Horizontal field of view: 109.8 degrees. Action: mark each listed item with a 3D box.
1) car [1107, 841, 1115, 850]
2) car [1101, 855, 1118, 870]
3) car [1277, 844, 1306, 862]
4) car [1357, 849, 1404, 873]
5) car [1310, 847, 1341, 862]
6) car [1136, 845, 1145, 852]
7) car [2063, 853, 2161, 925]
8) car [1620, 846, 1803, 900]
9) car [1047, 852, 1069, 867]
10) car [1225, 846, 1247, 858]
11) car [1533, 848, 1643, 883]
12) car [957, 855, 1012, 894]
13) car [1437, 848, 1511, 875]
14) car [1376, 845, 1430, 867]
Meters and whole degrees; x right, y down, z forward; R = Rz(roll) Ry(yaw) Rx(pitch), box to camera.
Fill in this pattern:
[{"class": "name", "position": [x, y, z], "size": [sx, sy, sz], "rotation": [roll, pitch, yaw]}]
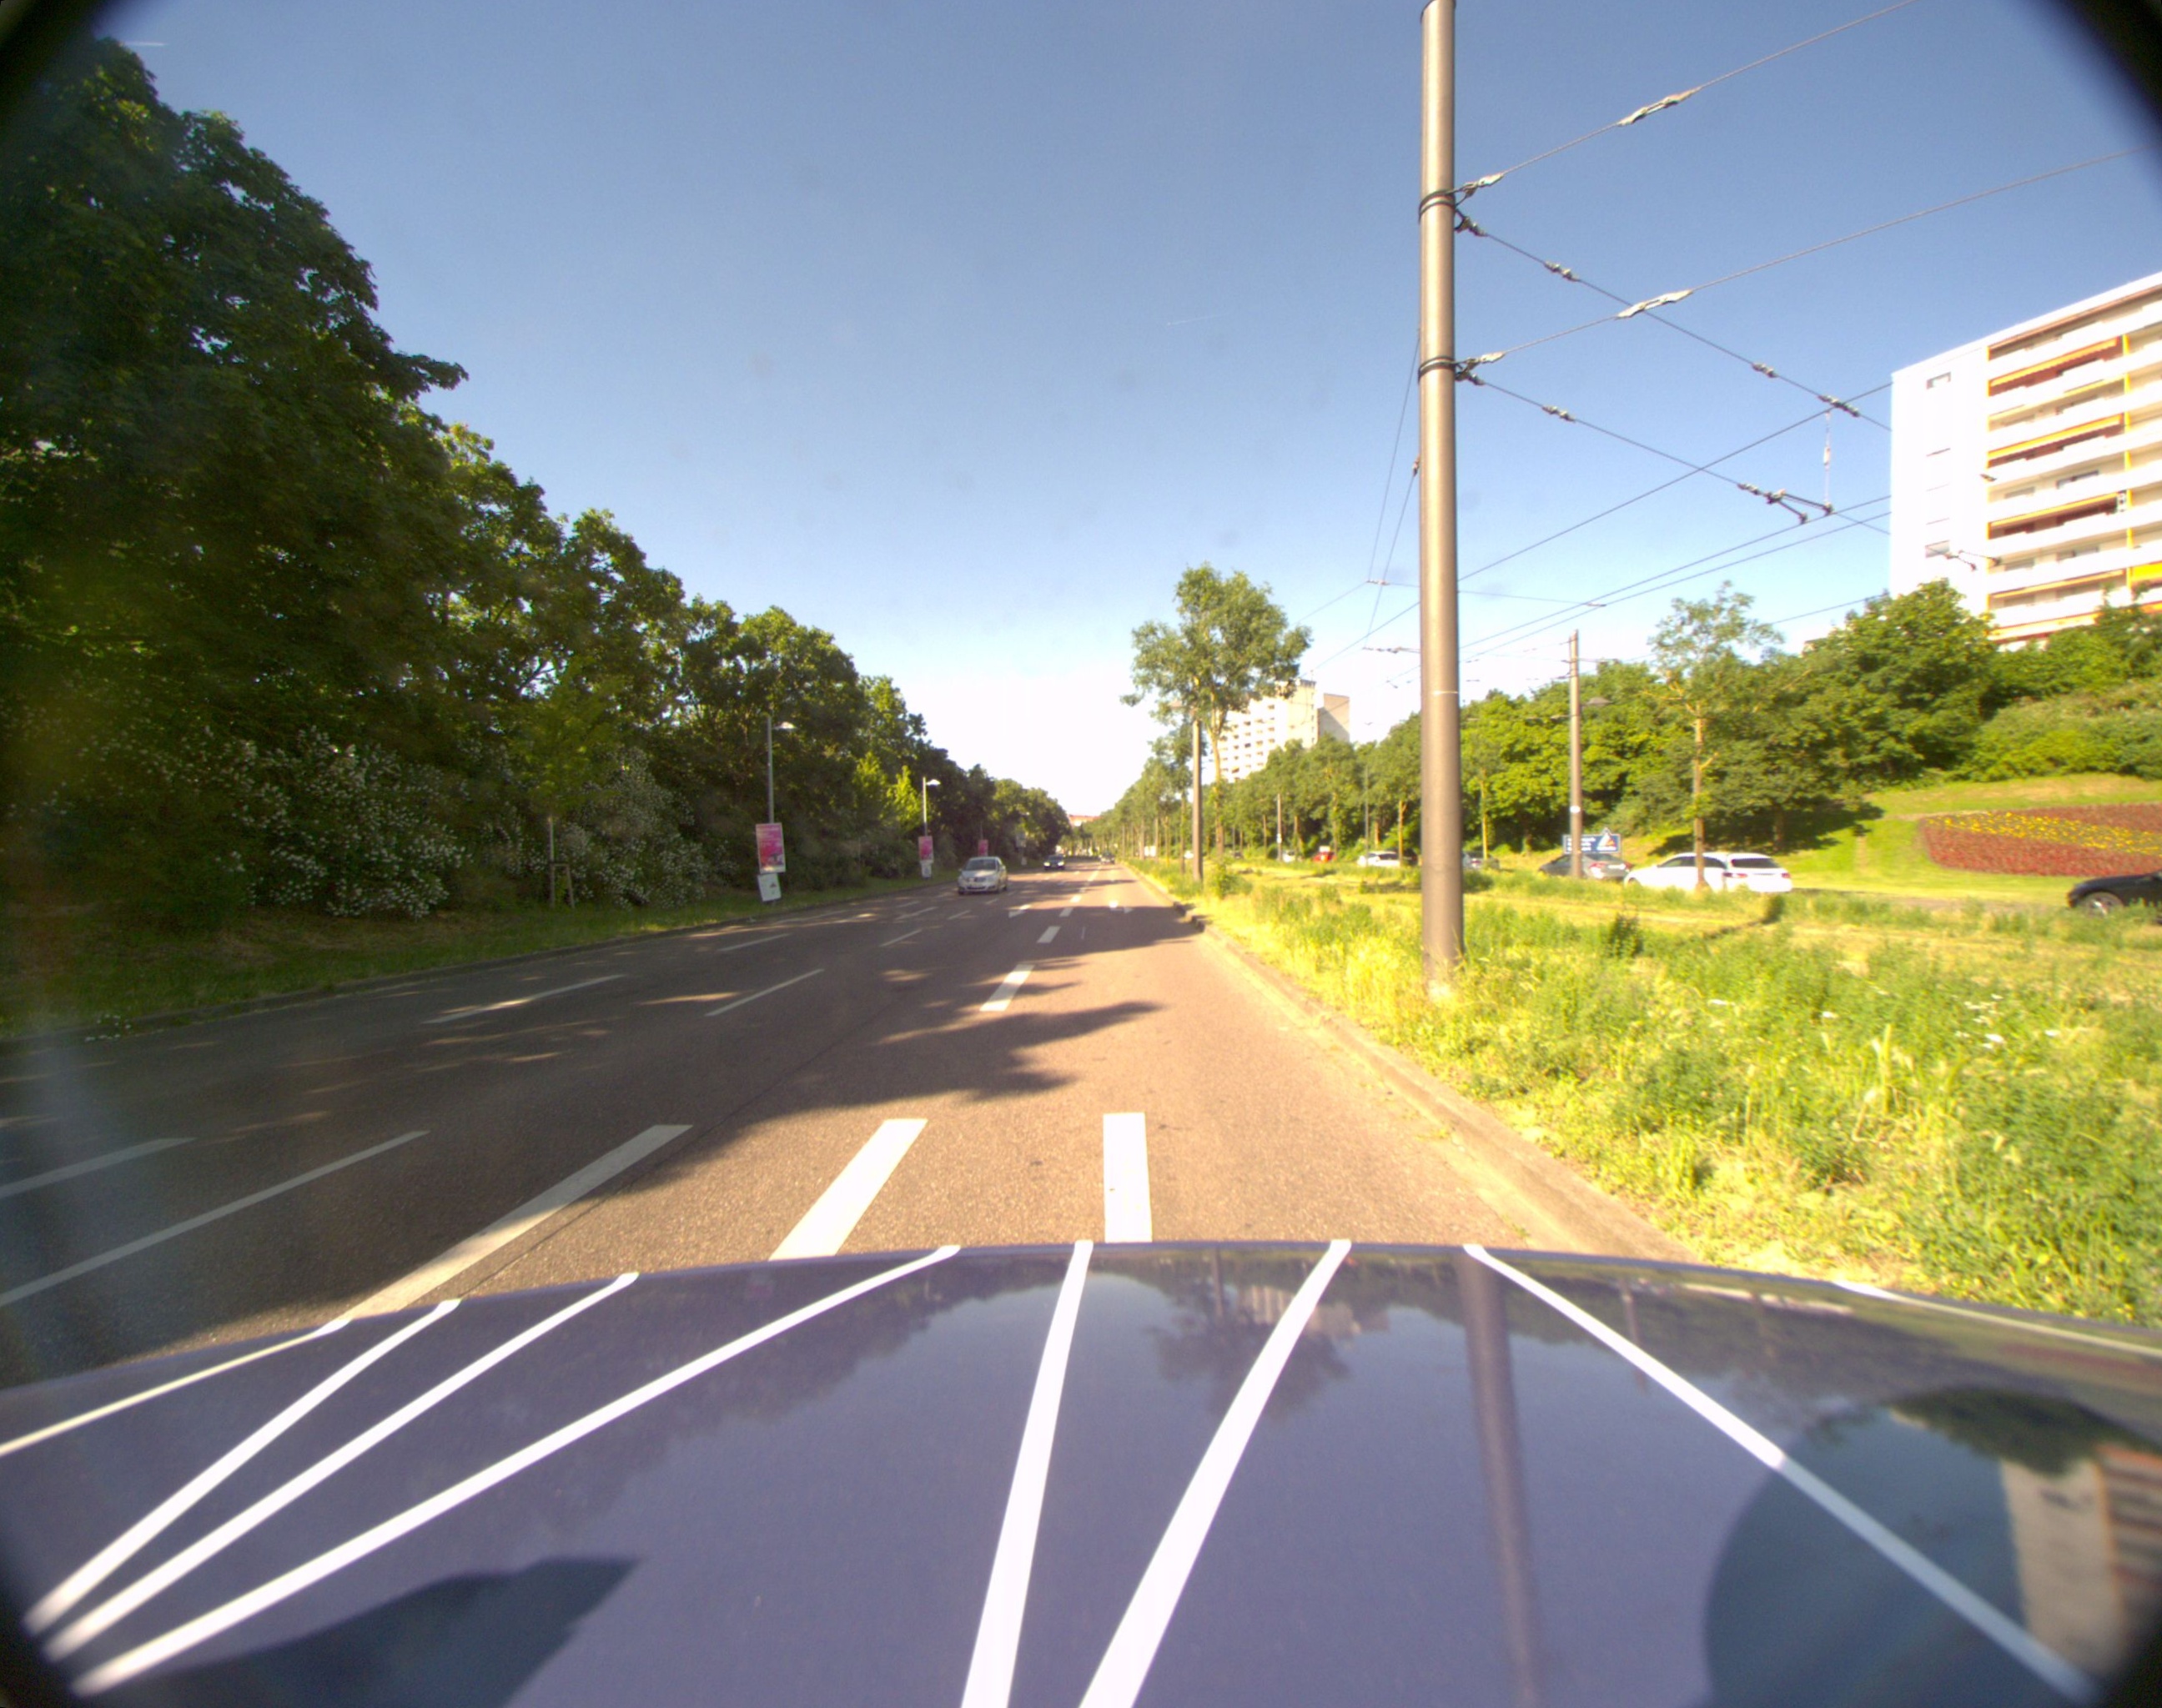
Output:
[{"class": "car", "position": [8.013, -2.359, 202.347], "size": [2.044, 2.355, 6.880], "rotation": [-2, 1, 2]}, {"class": "car", "position": [3.605, 1.089, 96.405], "size": [1.998, 1.696, 3.999], "rotation": [-2, 1, 1]}, {"class": "car", "position": [19.496, -0.091, 70.443], "size": [1.767, 1.599, 3.758], "rotation": [0, 1, 2]}, {"class": "car", "position": [19.302, 0.446, 49.100], "size": [1.592, 1.464, 4.184], "rotation": [1, -1, 3]}, {"class": "car", "position": [22.871, 0.056, 71.185], "size": [1.661, 1.290, 4.177], "rotation": [-2, 1, 3]}, {"class": "car", "position": [15.311, -1.424, 194.996], "size": [1.998, 1.575, 5.273], "rotation": [-2, 1, 2]}, {"class": "car", "position": [21.387, 0.685, 13.819], "size": [1.866, 1.334, 4.031], "rotation": [0, 1, 1]}, {"class": "car", "position": [18.503, 0.490, 22.646], "size": [1.707, 1.415, 4.643], "rotation": [0, 1, 2]}, {"class": "car", "position": [-2.199, 0.539, 73.612], "size": [1.831, 1.400, 4.216], "rotation": [-1, 0, 1]}, {"class": "car", "position": [19.787, -0.285, 97.161], "size": [1.998, 1.401, 4.991], "rotation": [-2, 1, 4]}, {"class": "car", "position": [22.102, 0.448, 33.359], "size": [1.998, 1.366, 4.400], "rotation": [-2, 1, 3]}, {"class": "car", "position": [-4.240, 0.872, 33.963], "size": [1.672, 1.531, 4.060], "rotation": [-3, 0, 3]}, {"class": "car", "position": [22.759, 0.389, 44.250], "size": [1.998, 1.424, 4.693], "rotation": [0, 1, 2]}, {"class": "car", "position": [22.894, 0.103, 54.170], "size": [1.998, 1.472, 4.631], "rotation": [-2, 1, 2]}]
